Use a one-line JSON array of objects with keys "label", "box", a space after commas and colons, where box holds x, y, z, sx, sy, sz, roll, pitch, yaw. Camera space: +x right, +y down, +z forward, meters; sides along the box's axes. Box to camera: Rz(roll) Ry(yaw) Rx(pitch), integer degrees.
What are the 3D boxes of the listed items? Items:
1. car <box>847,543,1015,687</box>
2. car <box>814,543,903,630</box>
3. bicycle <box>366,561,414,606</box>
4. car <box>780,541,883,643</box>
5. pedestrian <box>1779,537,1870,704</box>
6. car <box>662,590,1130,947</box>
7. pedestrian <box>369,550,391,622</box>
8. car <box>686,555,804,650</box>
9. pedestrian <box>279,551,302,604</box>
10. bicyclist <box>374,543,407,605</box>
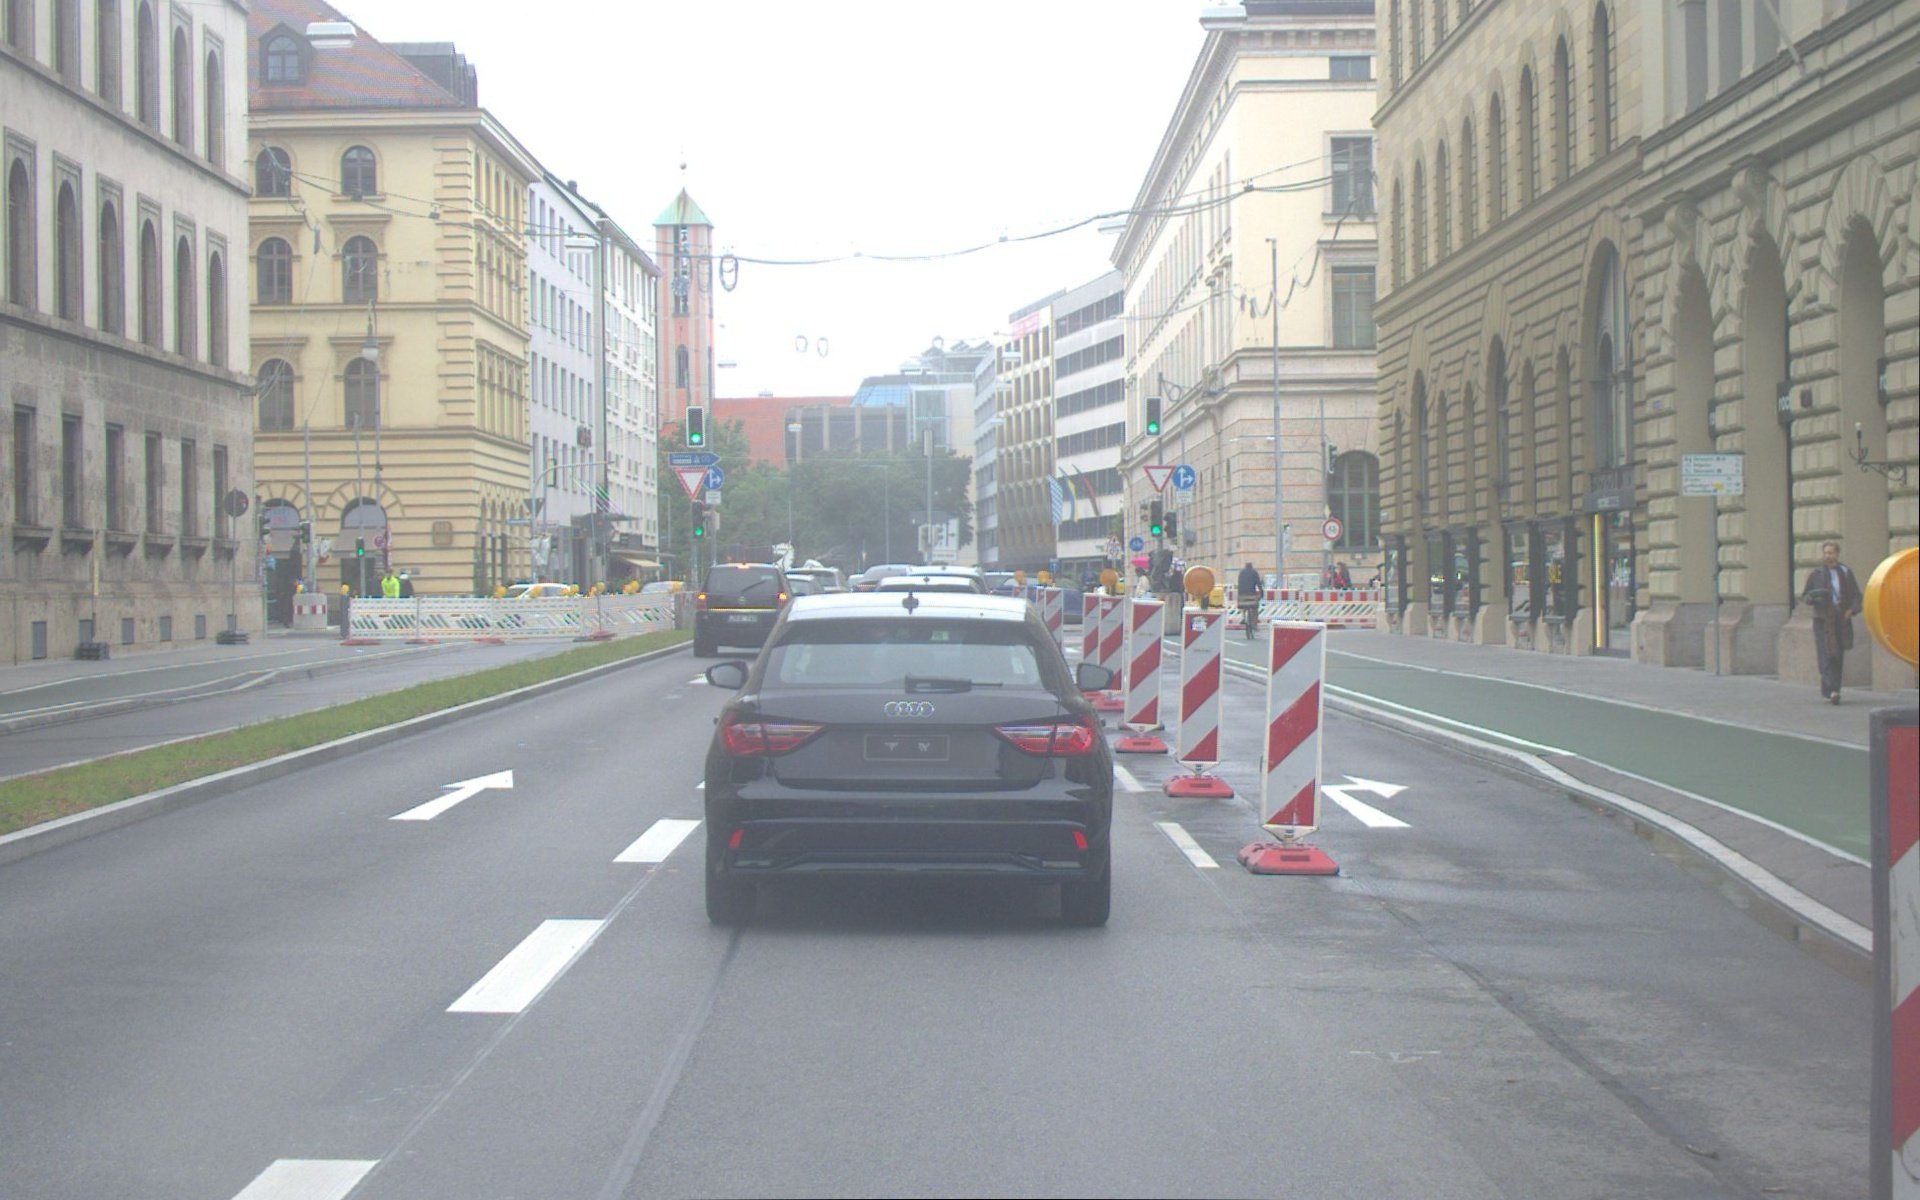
[{"label": "car", "box": [-0.391, 0.150, 40.805, 1.768, 1.611, 4.001, 1, 1, -4]}, {"label": "car", "box": [-2.403, -0.330, 82.258, 1.993, 2.007, 4.000, -1, 1, 0]}, {"label": "bicycle", "box": [-16.293, -0.480, 98.352, 0.787, 1.238, 2.448, 1, 1, 4]}, {"label": "car", "box": [-2.598, -0.179, 70.328, 1.993, 2.007, 4.000, 0, 1, -1]}, {"label": "pedestrian", "box": [8.987, 0.203, 35.775, 0.632, 1.698, 1.086, -1, 0, -1]}, {"label": "car", "box": [-0.269, 0.669, 15.734, 1.863, 1.383, 4.000, 0, 1, 0]}, {"label": "pedestrian", "box": [-14.078, -0.347, 83.384, 0.512, 1.737, 1.043, 0, 0, -10]}, {"label": "car", "box": [-3.739, 0.017, 60.323, 1.865, 1.596, 3.851, -1, 1, -1]}, {"label": "pedestrian", "box": [-22.825, -0.768, 117.239, 0.733, 1.766, 0.739, 1, 0, -10]}, {"label": "bicyclist", "box": [-16.290, -0.748, 98.331, 0.798, 1.742, 0.689, 1, 0, 4]}]
